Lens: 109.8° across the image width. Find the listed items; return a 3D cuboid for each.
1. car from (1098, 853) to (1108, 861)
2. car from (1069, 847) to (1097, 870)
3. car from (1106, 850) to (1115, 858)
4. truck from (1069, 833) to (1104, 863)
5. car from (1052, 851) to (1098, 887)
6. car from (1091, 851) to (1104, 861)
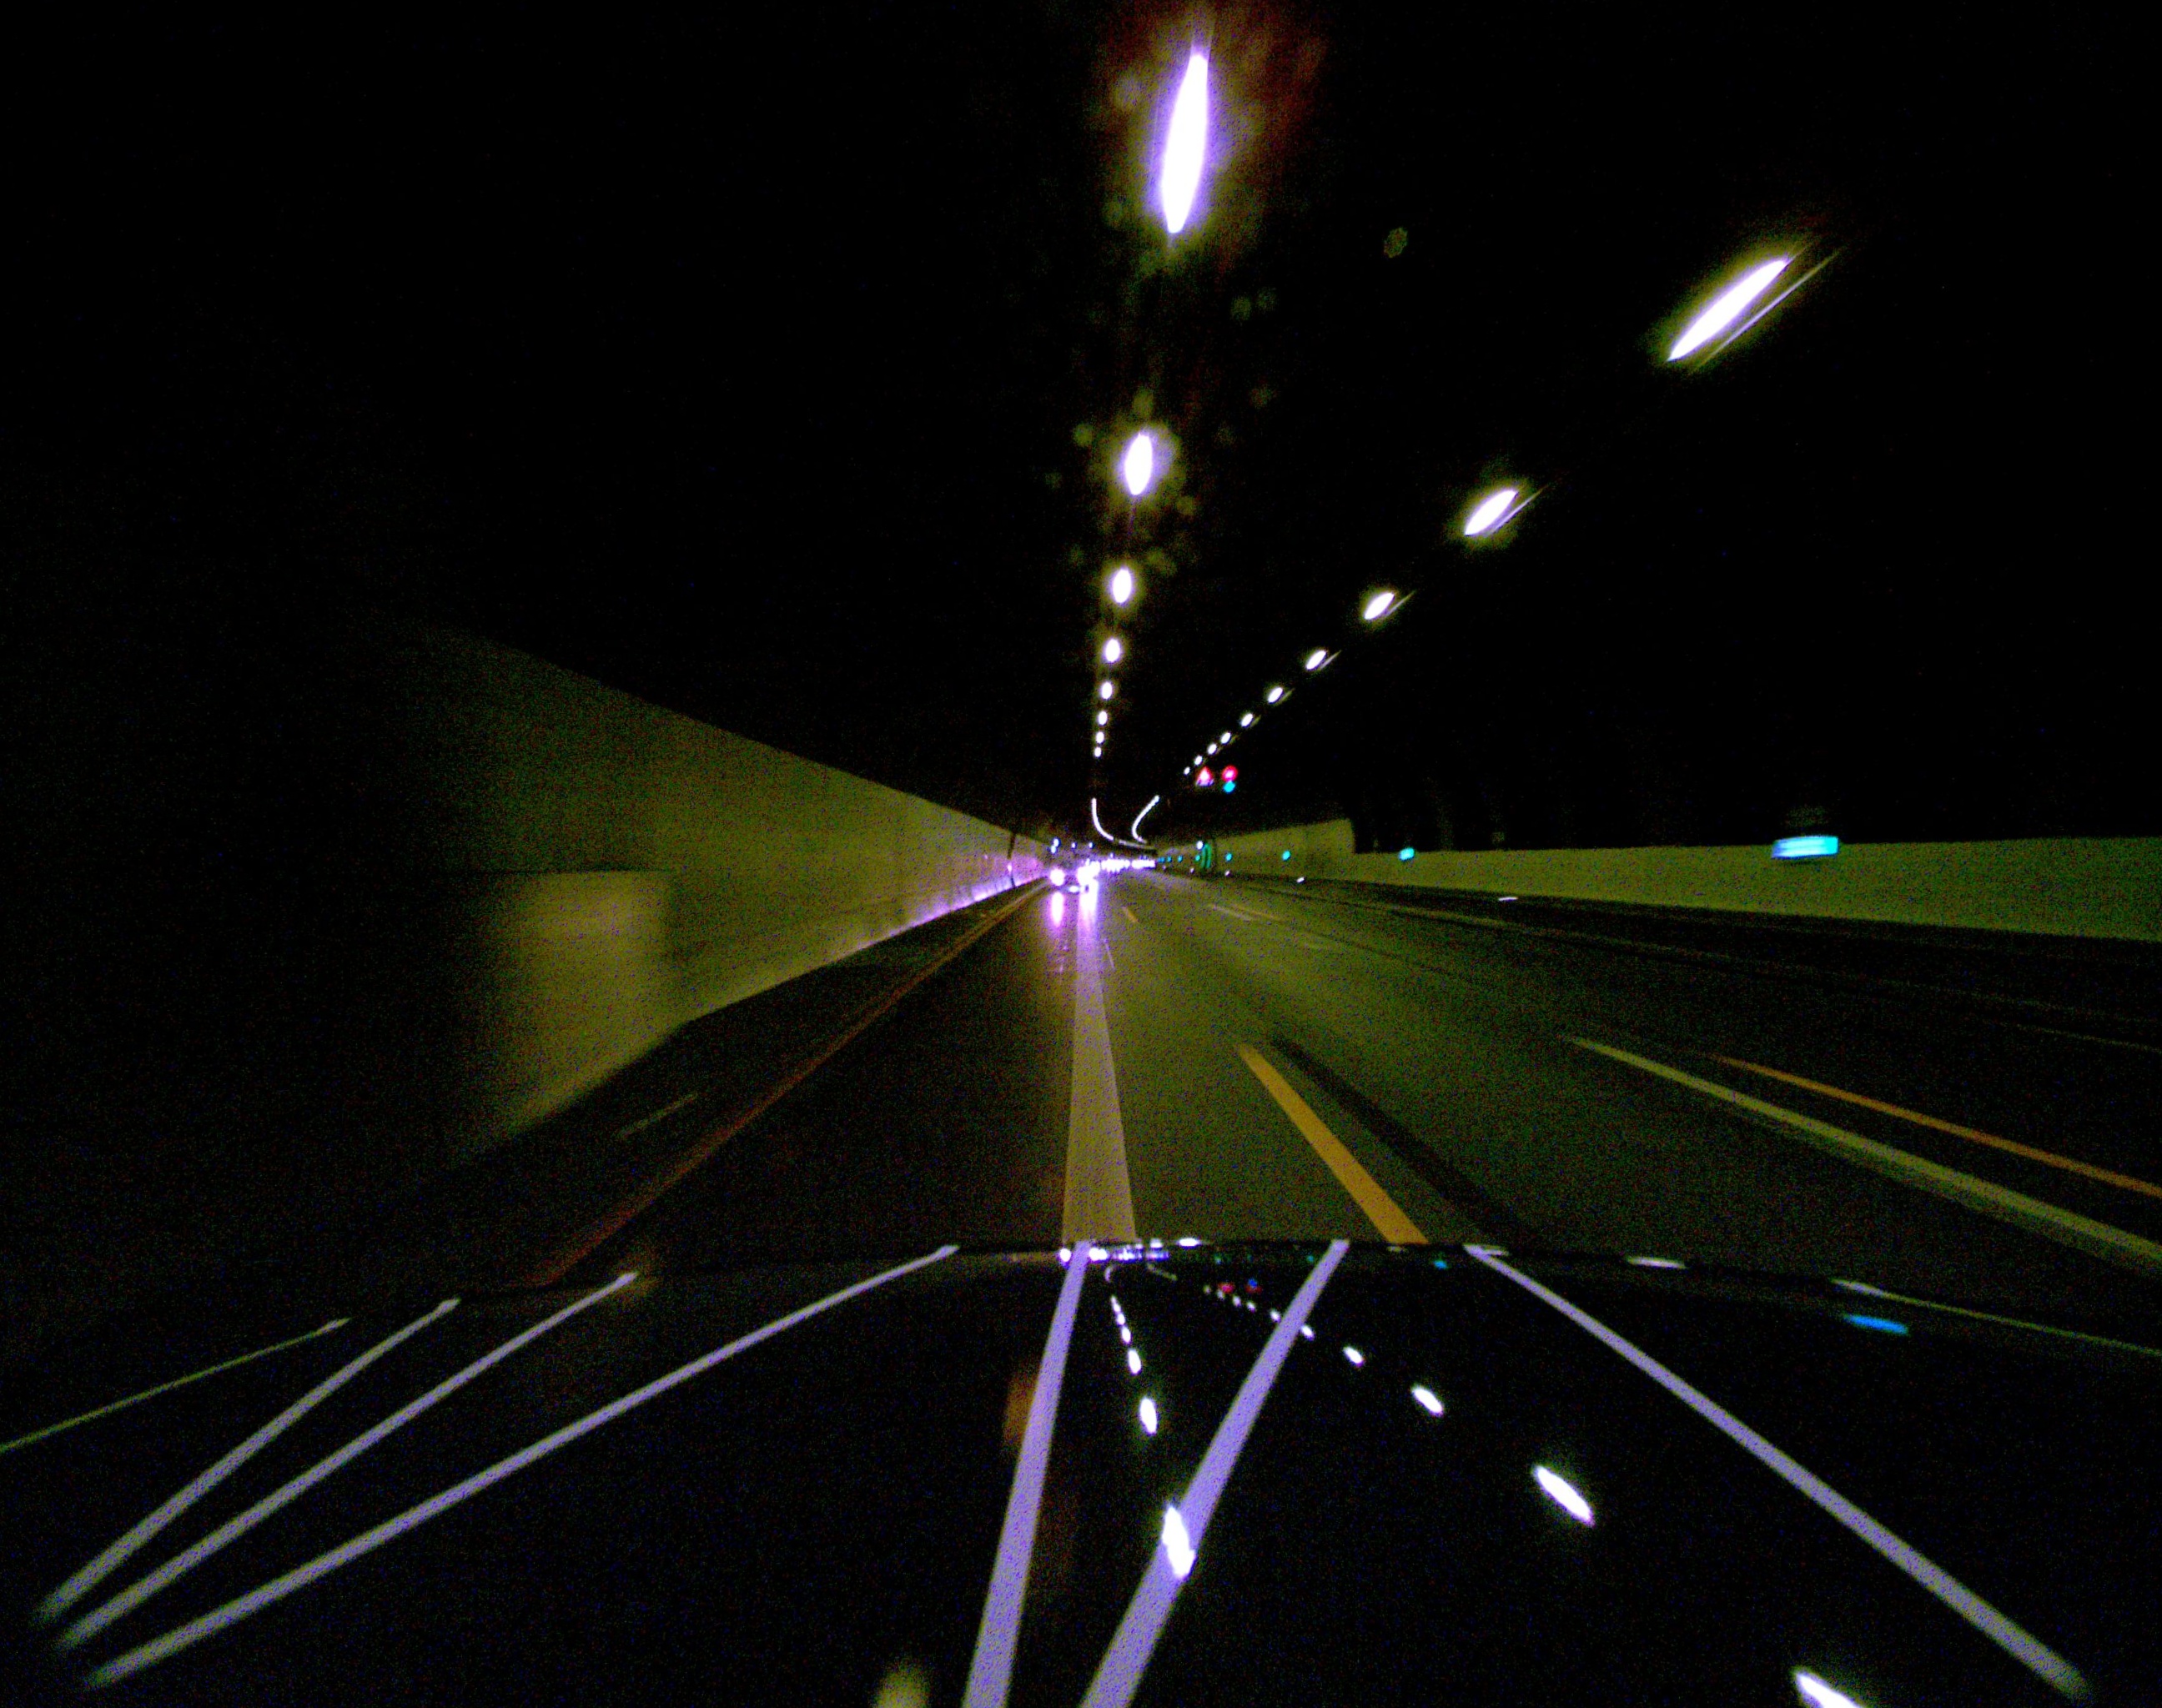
[{"bbox_3d":[5.013,0.638,173.573,1.998,1.892,4.001,-1,0,5],"label":"car"},{"bbox_3d":[0.191,0.298,59.151,1.998,1.655,4.000,-2,0,1],"label":"car"},{"bbox_3d":[7.442,-0.080,191.632,1.997,1.917,4.387,-1,0,7],"label":"car"},{"bbox_3d":[0.702,-0.681,87.029,2.987,3.161,10.513,-1,0,6],"label":"truck"},{"bbox_3d":[-0.255,0.729,38.916,2.171,1.709,4.481,-1,0,1],"label":"car"},{"bbox_3d":[3.109,0.382,145.514,1.997,1.892,4.002,-1,0,8],"label":"car"}]
